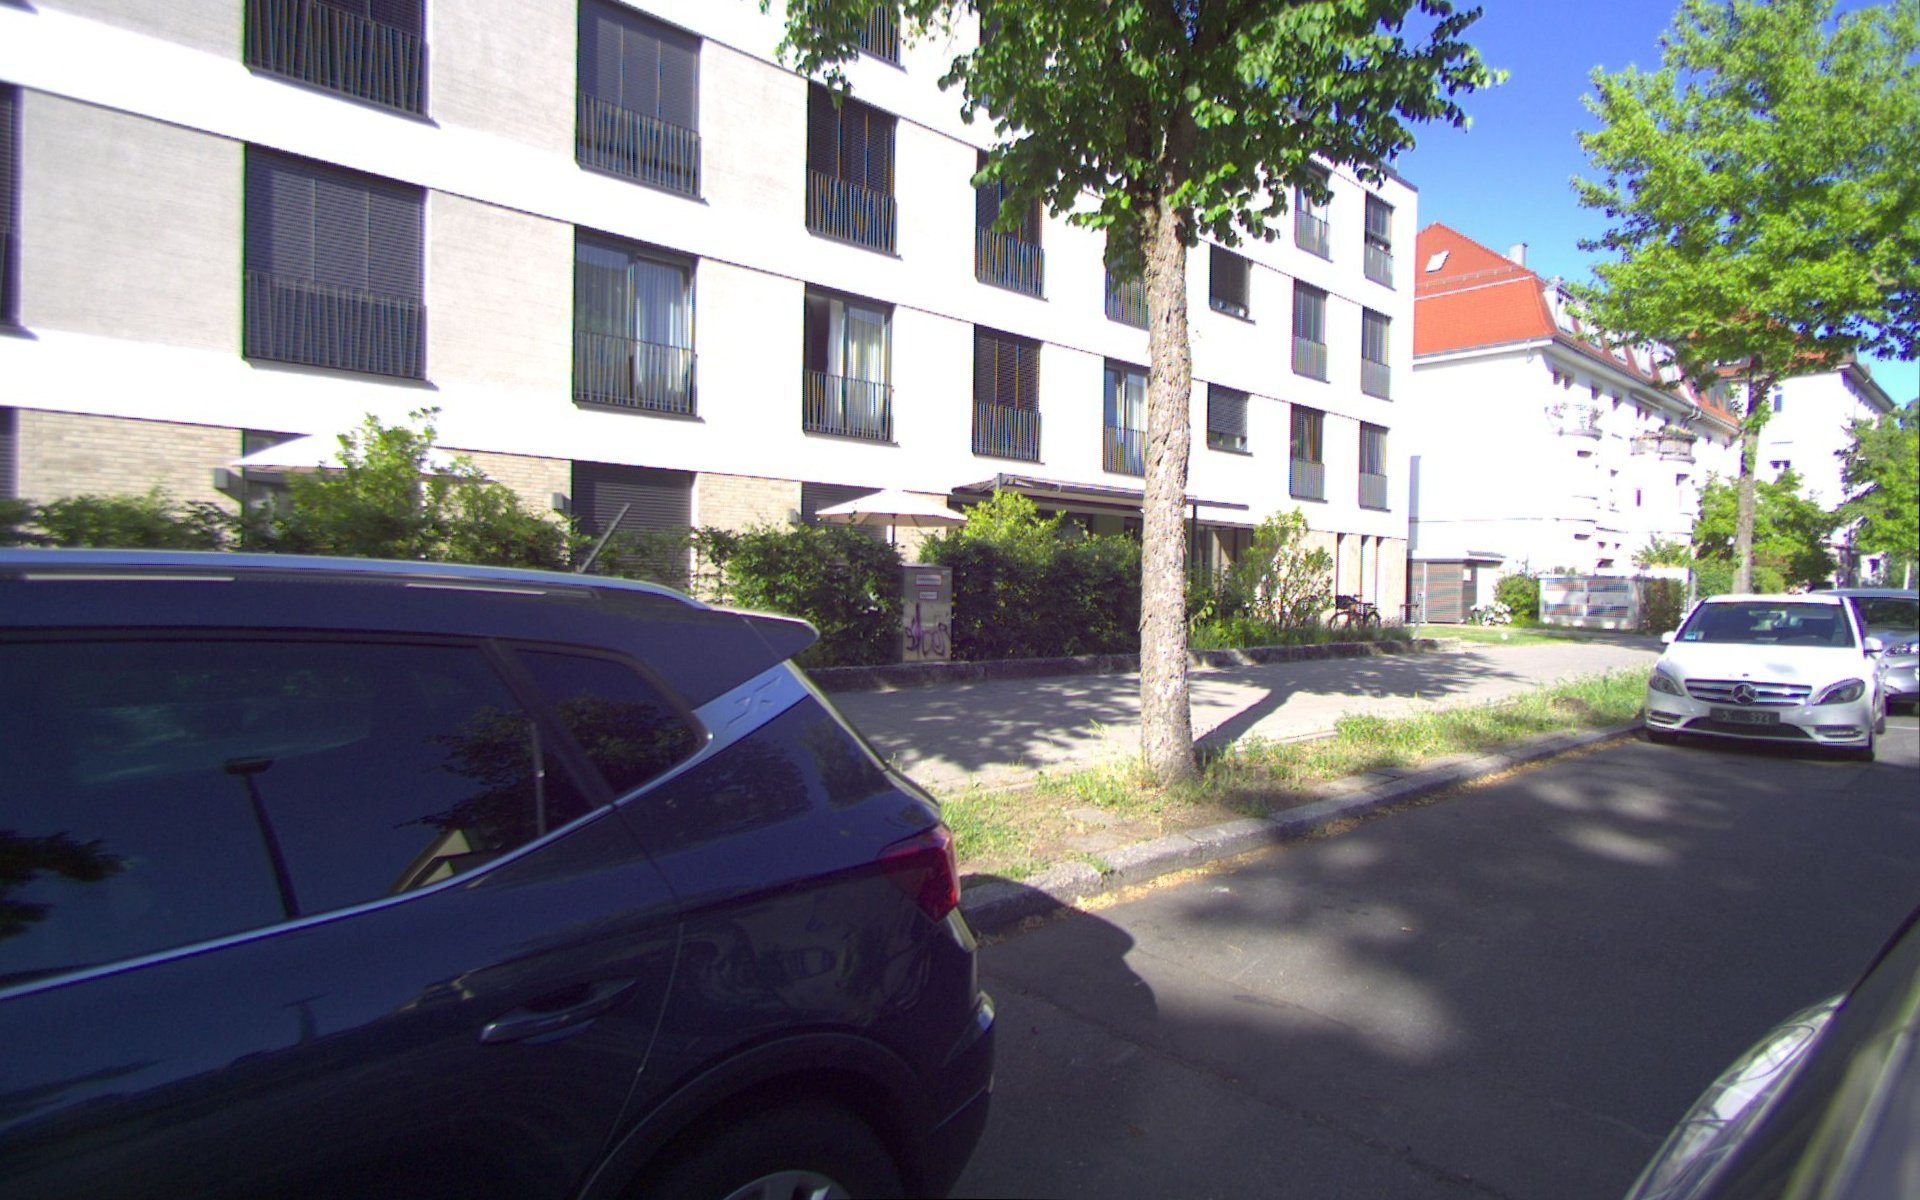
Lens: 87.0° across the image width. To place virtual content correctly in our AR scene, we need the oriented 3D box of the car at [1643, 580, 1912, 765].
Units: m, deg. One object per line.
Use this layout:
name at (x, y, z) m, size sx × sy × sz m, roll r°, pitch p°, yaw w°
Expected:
car at (8.829, 0.588, 10.767) m, size 1.782 × 1.537 × 4.612 m, roll 1°, pitch 1°, yaw 45°

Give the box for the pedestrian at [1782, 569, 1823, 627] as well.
pedestrian at (30.320, -0.071, 36.431) m, size 0.988 × 2.038 × 0.907 m, roll 0°, pitch 2°, yaw -41°

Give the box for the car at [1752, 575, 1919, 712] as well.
car at (13.143, 0.516, 14.432) m, size 4.774 × 1.668 × 1.901 m, roll 0°, pitch 1°, yaw -39°

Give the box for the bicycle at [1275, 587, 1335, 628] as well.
bicycle at (7.853, 0.161, 23.006) m, size 1.581 × 0.905 × 0.564 m, roll 0°, pitch 1°, yaw -41°

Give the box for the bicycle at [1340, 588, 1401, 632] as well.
bicycle at (8.874, 0.195, 21.853) m, size 1.581 × 0.905 × 0.564 m, roll 0°, pitch 1°, yaw -41°

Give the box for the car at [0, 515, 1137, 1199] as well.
car at (-1.800, 0.664, 1.428) m, size 4.268 × 1.535 × 1.721 m, roll 0°, pitch 1°, yaw -41°
